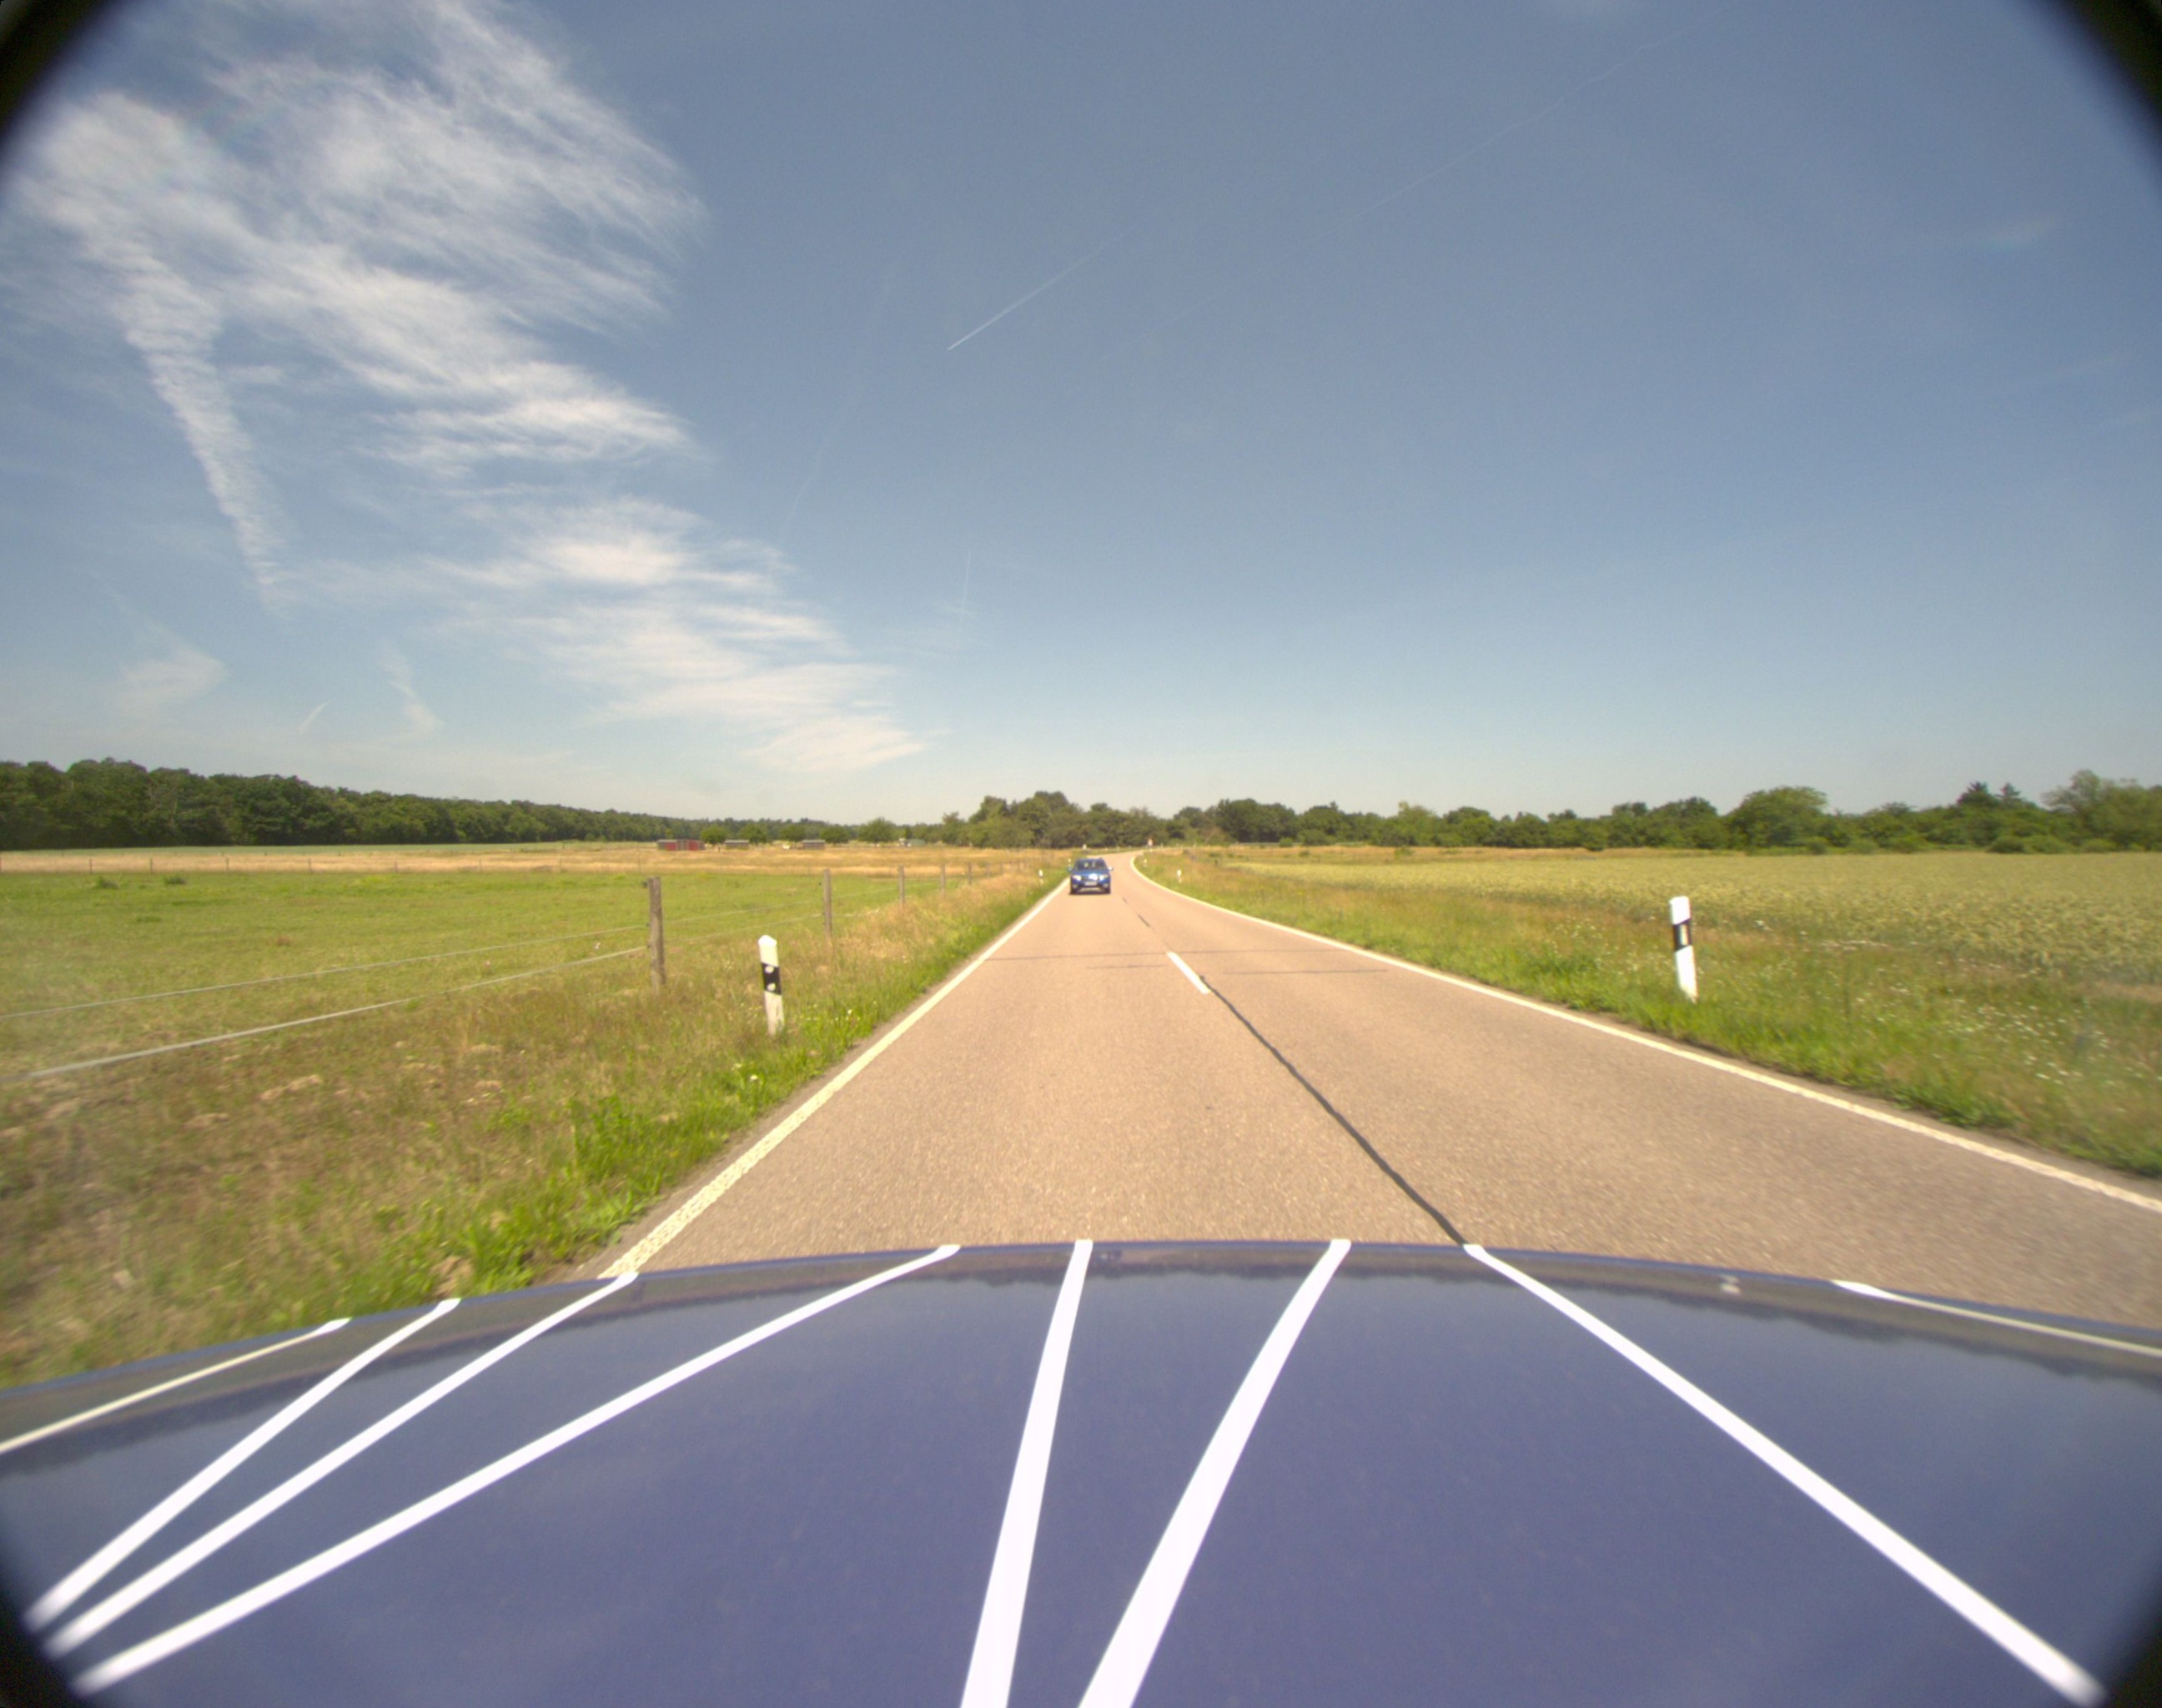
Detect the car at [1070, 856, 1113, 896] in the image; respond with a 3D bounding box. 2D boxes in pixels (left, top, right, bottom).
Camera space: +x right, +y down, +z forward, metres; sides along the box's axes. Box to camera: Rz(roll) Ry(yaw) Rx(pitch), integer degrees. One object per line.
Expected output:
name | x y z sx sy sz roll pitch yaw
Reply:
car | 0.487 0.929 33.789 1.734 1.572 4.000 -2 1 2
